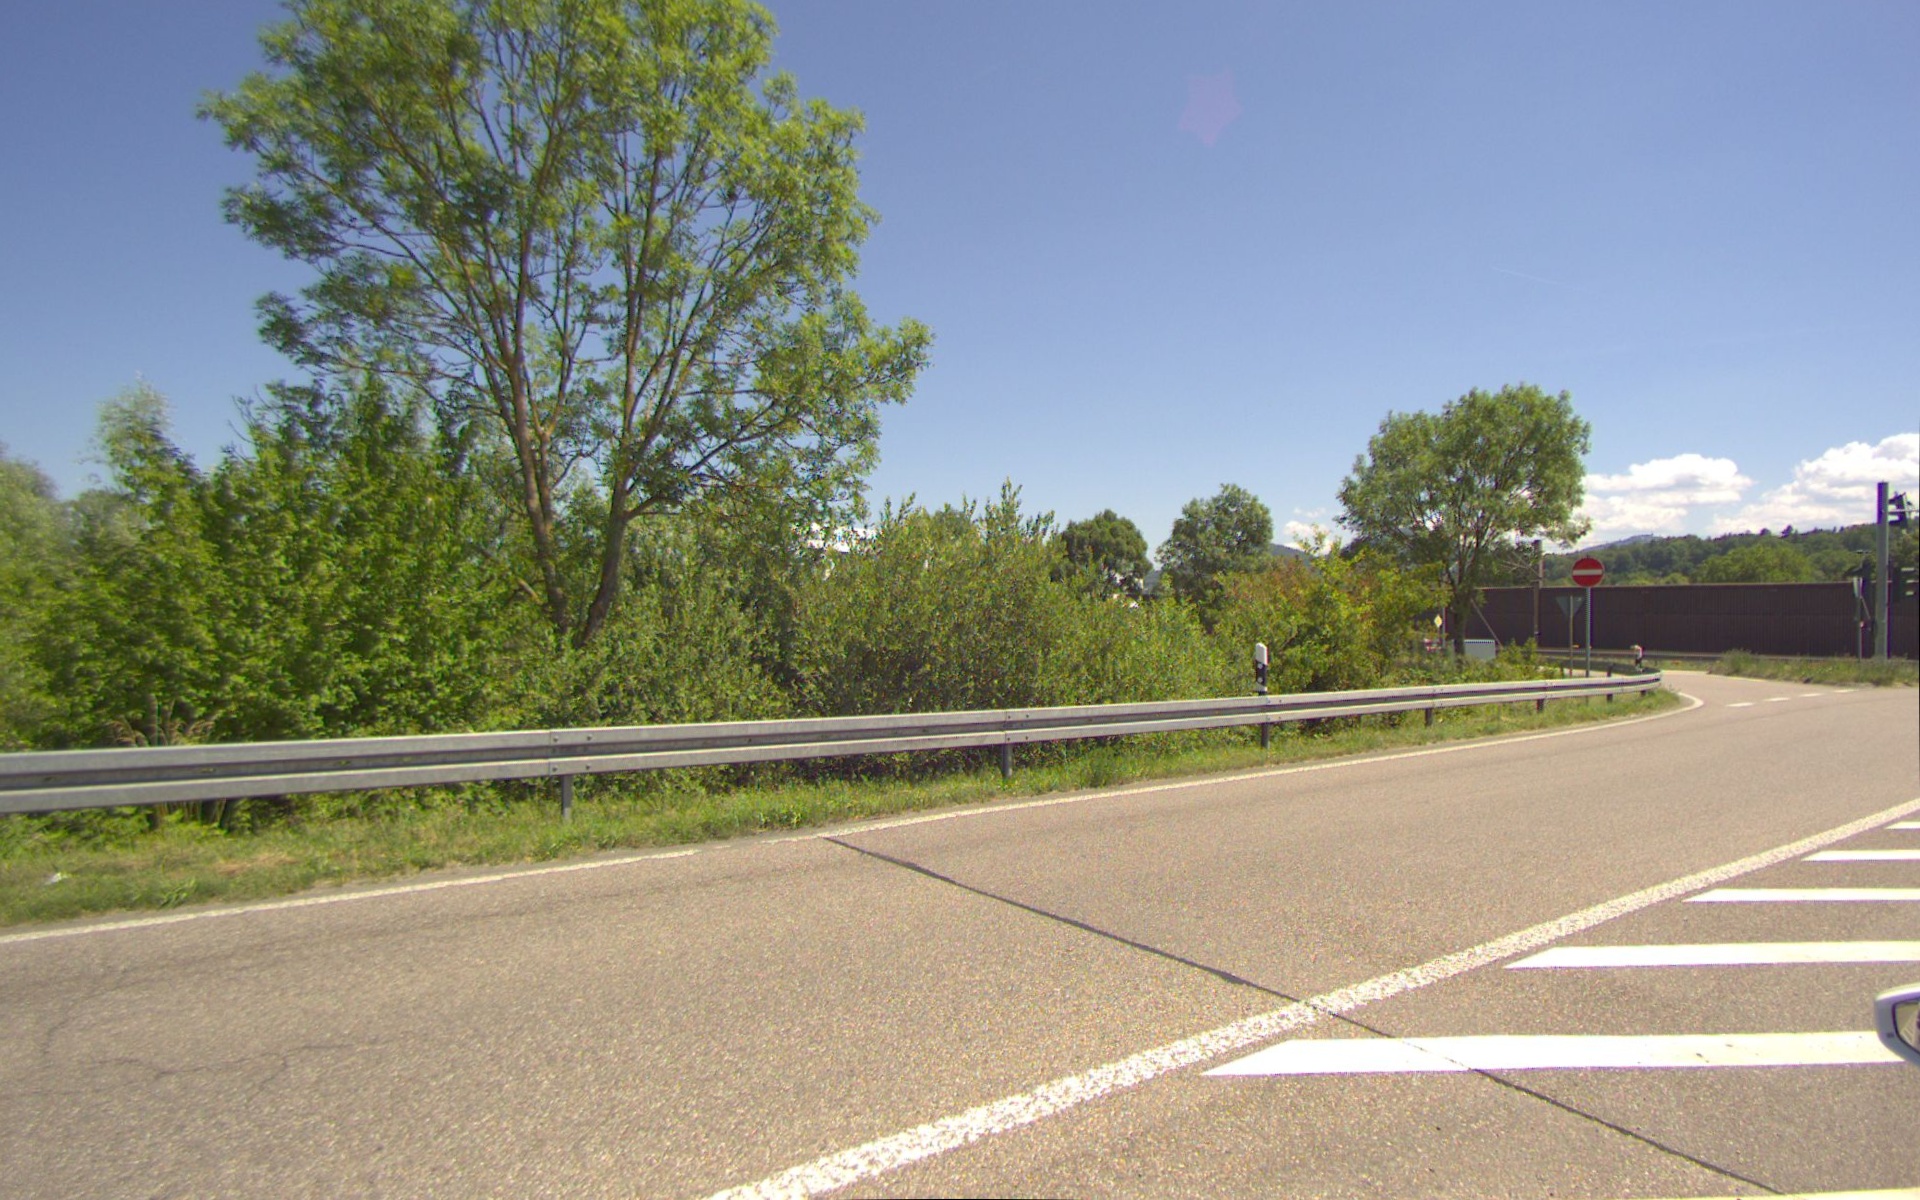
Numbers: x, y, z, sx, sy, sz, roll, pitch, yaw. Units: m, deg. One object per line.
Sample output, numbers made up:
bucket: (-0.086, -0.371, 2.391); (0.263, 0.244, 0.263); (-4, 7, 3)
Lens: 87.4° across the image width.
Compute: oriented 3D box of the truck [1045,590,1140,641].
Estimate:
truck: (9.607, 1.097, 74.334); (2.100, 3.516, 9.029); (1, -1, -28)

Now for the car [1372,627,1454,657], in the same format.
car: (26.625, 2.466, 59.104); (1.978, 1.576, 3.966); (2, -1, -31)
